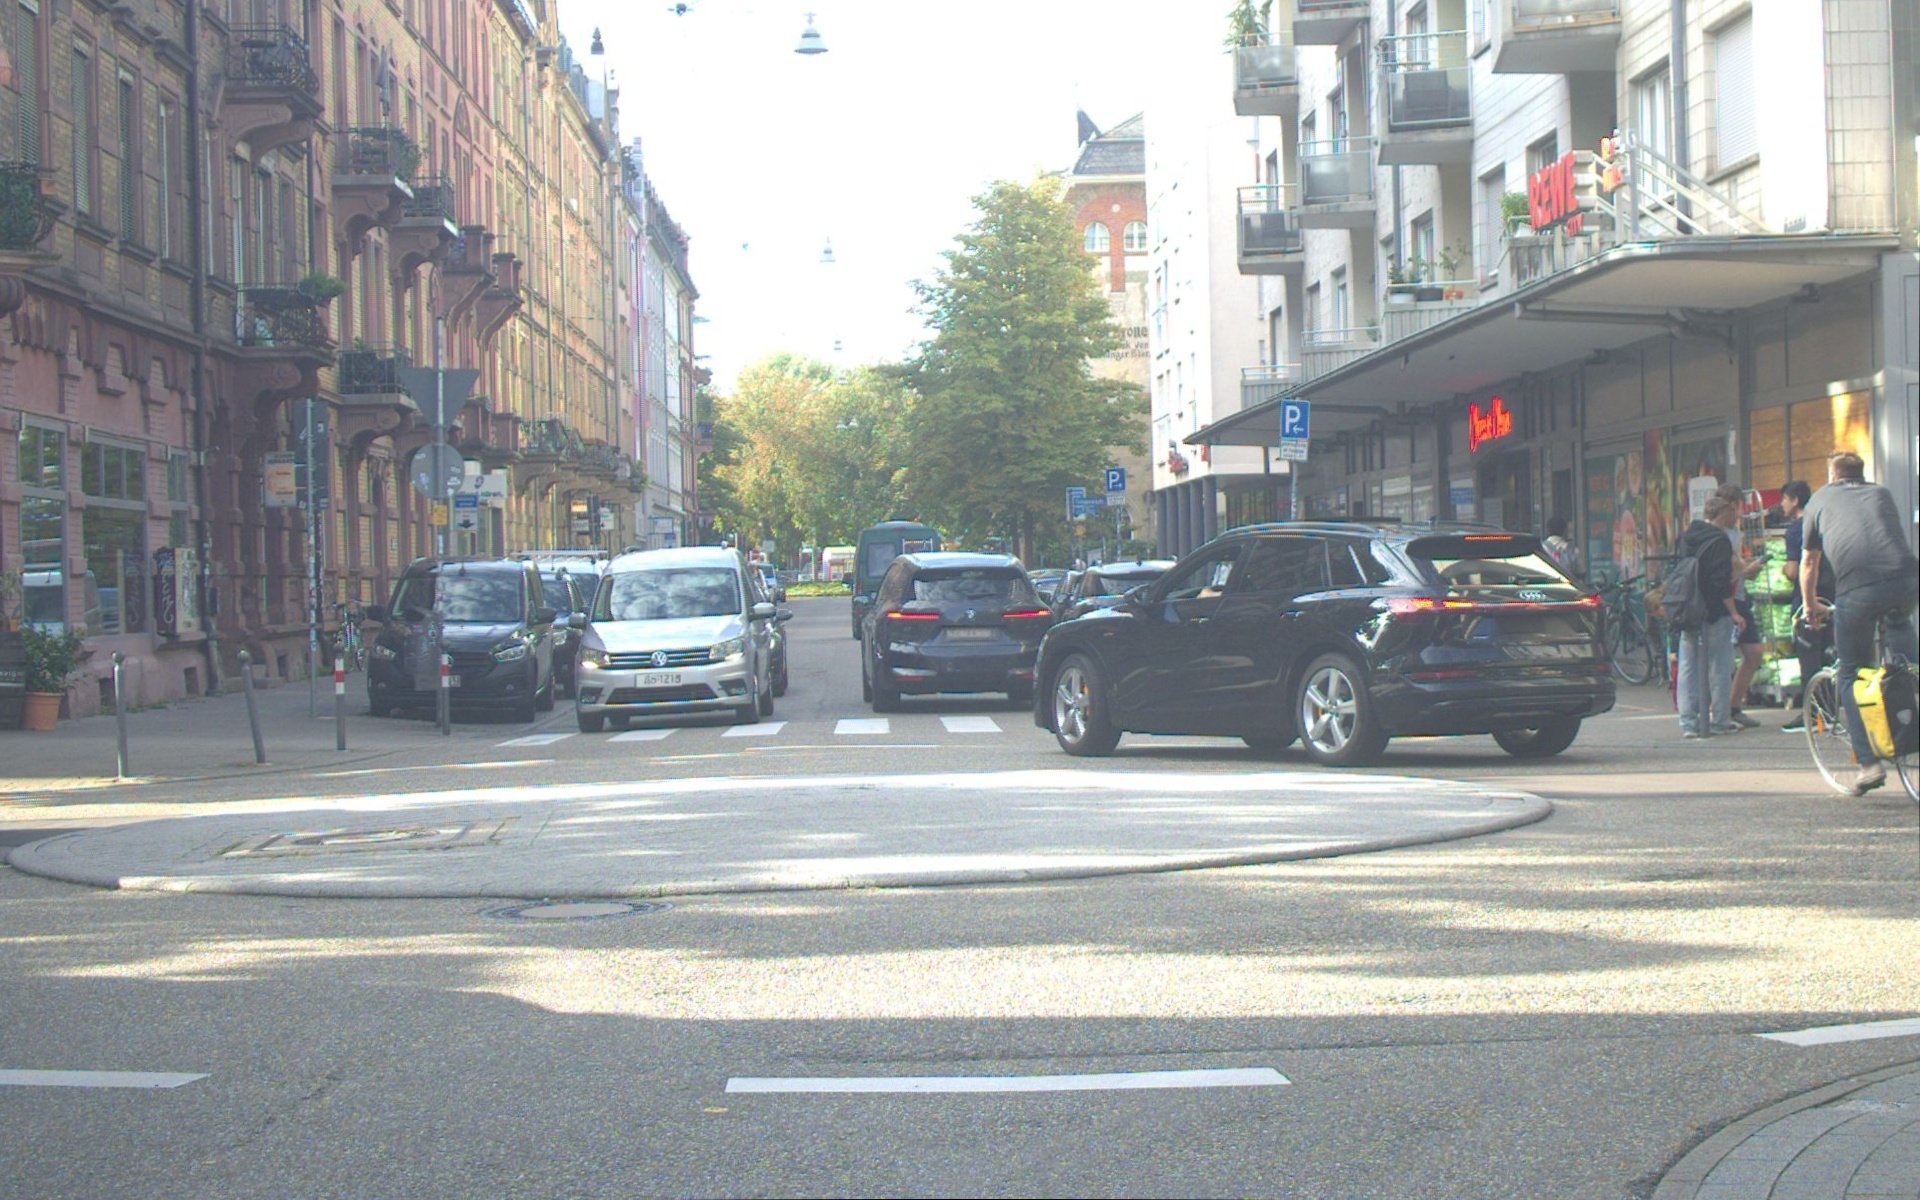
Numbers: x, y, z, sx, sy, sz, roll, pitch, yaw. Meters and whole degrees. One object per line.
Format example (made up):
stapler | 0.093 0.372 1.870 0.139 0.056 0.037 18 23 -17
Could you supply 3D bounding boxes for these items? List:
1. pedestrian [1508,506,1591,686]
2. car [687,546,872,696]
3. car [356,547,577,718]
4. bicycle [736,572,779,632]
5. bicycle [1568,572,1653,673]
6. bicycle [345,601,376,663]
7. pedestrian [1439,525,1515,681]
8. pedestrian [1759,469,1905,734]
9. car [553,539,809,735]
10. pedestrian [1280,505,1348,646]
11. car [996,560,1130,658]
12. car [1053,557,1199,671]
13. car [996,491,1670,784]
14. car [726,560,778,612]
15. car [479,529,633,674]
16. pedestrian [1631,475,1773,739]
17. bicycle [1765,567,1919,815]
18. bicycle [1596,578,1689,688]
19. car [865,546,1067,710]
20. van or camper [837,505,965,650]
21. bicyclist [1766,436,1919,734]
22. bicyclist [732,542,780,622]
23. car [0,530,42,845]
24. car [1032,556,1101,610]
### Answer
pedestrian | 5.680 -0.044 33.126 0.741 1.707 0.733 -1 1 10
car | -2.231 0.216 43.685 1.928 1.719 4.736 -3 1 1
car | -5.536 0.317 39.083 1.782 1.718 4.445 0 2 1
bicycle | -5.151 0.038 87.155 0.925 1.484 3.465 1 0 -6
bicycle | 6.647 0.218 35.193 0.360 0.995 1.716 -1 1 -6
bicycle | -9.415 0.492 54.009 0.360 0.944 1.716 0 1 -6
pedestrian | 5.523 0.026 36.693 0.745 1.623 0.812 -1 1 10
pedestrian | 6.200 0.008 24.472 0.869 1.845 0.612 -1 1 4
car | -2.749 0.319 34.899 1.793 1.784 4.735 -2 1 4
pedestrian | 4.738 -0.332 45.987 0.731 1.858 1.062 -1 1 14
car | 1.648 0.120 56.407 1.993 1.481 4.000 -2 1 -1
car | 2.121 0.155 44.695 1.645 1.320 3.576 -4 1 0
car | 2.427 0.195 23.728 2.036 1.718 4.846 -4 2 -31
car | -8.444 -0.585 139.770 1.993 2.007 4.000 -1 1 -2
car | -5.965 -0.002 51.153 1.993 2.007 4.001 -2 1 -4
pedestrian | 5.295 0.047 24.566 0.869 1.845 0.612 -1 1 4
bicycle | 4.627 0.418 17.534 0.666 1.174 2.496 0 1 5
bicycle | 6.506 0.303 32.828 0.362 1.013 1.431 -1 1 -9
car | 0.010 0.260 36.816 1.993 1.612 4.000 -1 1 -2
van or camper | -1.331 -0.505 75.171 2.531 3.027 4.459 -1 1 -4
bicyclist | 4.620 -0.077 17.441 0.933 1.479 0.747 0 0 5
bicyclist | -5.178 -0.453 87.121 1.132 1.991 1.028 1 0 -6
car | -6.319 0.597 17.255 1.942 1.716 4.850 -3 2 1
car | 2.865 -0.475 93.069 1.645 1.320 3.576 -4 1 0
